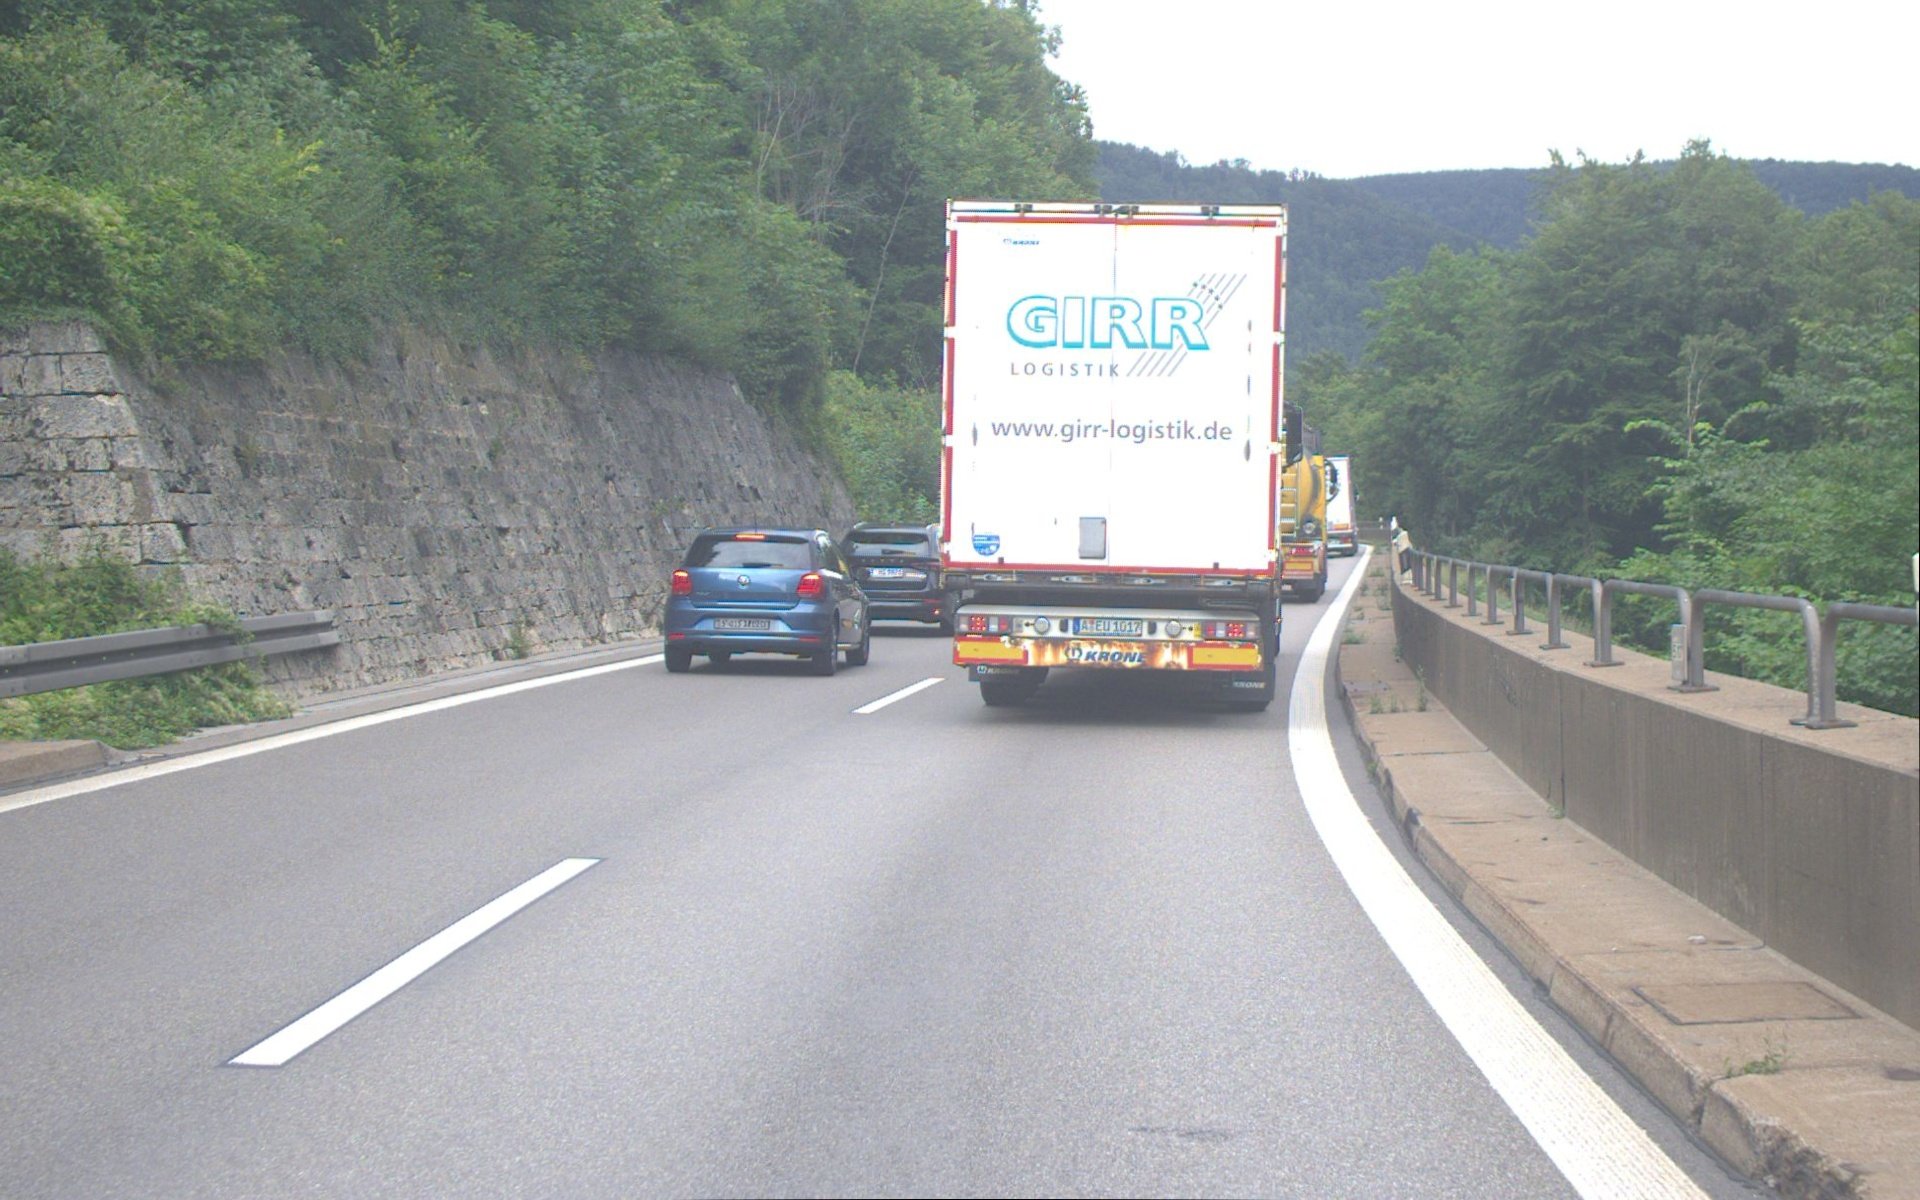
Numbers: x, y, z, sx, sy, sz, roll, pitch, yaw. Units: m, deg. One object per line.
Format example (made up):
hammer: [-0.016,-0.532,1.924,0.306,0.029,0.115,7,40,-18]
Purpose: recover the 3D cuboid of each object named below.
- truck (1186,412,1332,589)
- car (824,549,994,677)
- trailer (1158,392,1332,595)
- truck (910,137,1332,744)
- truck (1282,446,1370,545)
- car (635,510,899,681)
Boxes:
truck: [6.757,-2.227,77.131,2.972,3.752,5.569,2,1,7]
car: [-0.624,0.146,45.456,1.745,1.581,3.999,1,1,6]
trailer: [6.011,-2.142,70.779,2.972,3.752,12.452,2,1,7]
truck: [1.906,-1.380,32.906,3.085,4.448,15.153,0,2,6]
truck: [14.500,-4.063,135.771,2.972,3.752,10.358,1,1,8]
car: [-1.875,-0.100,34.772,1.994,1.590,4.353,1,2,6]
